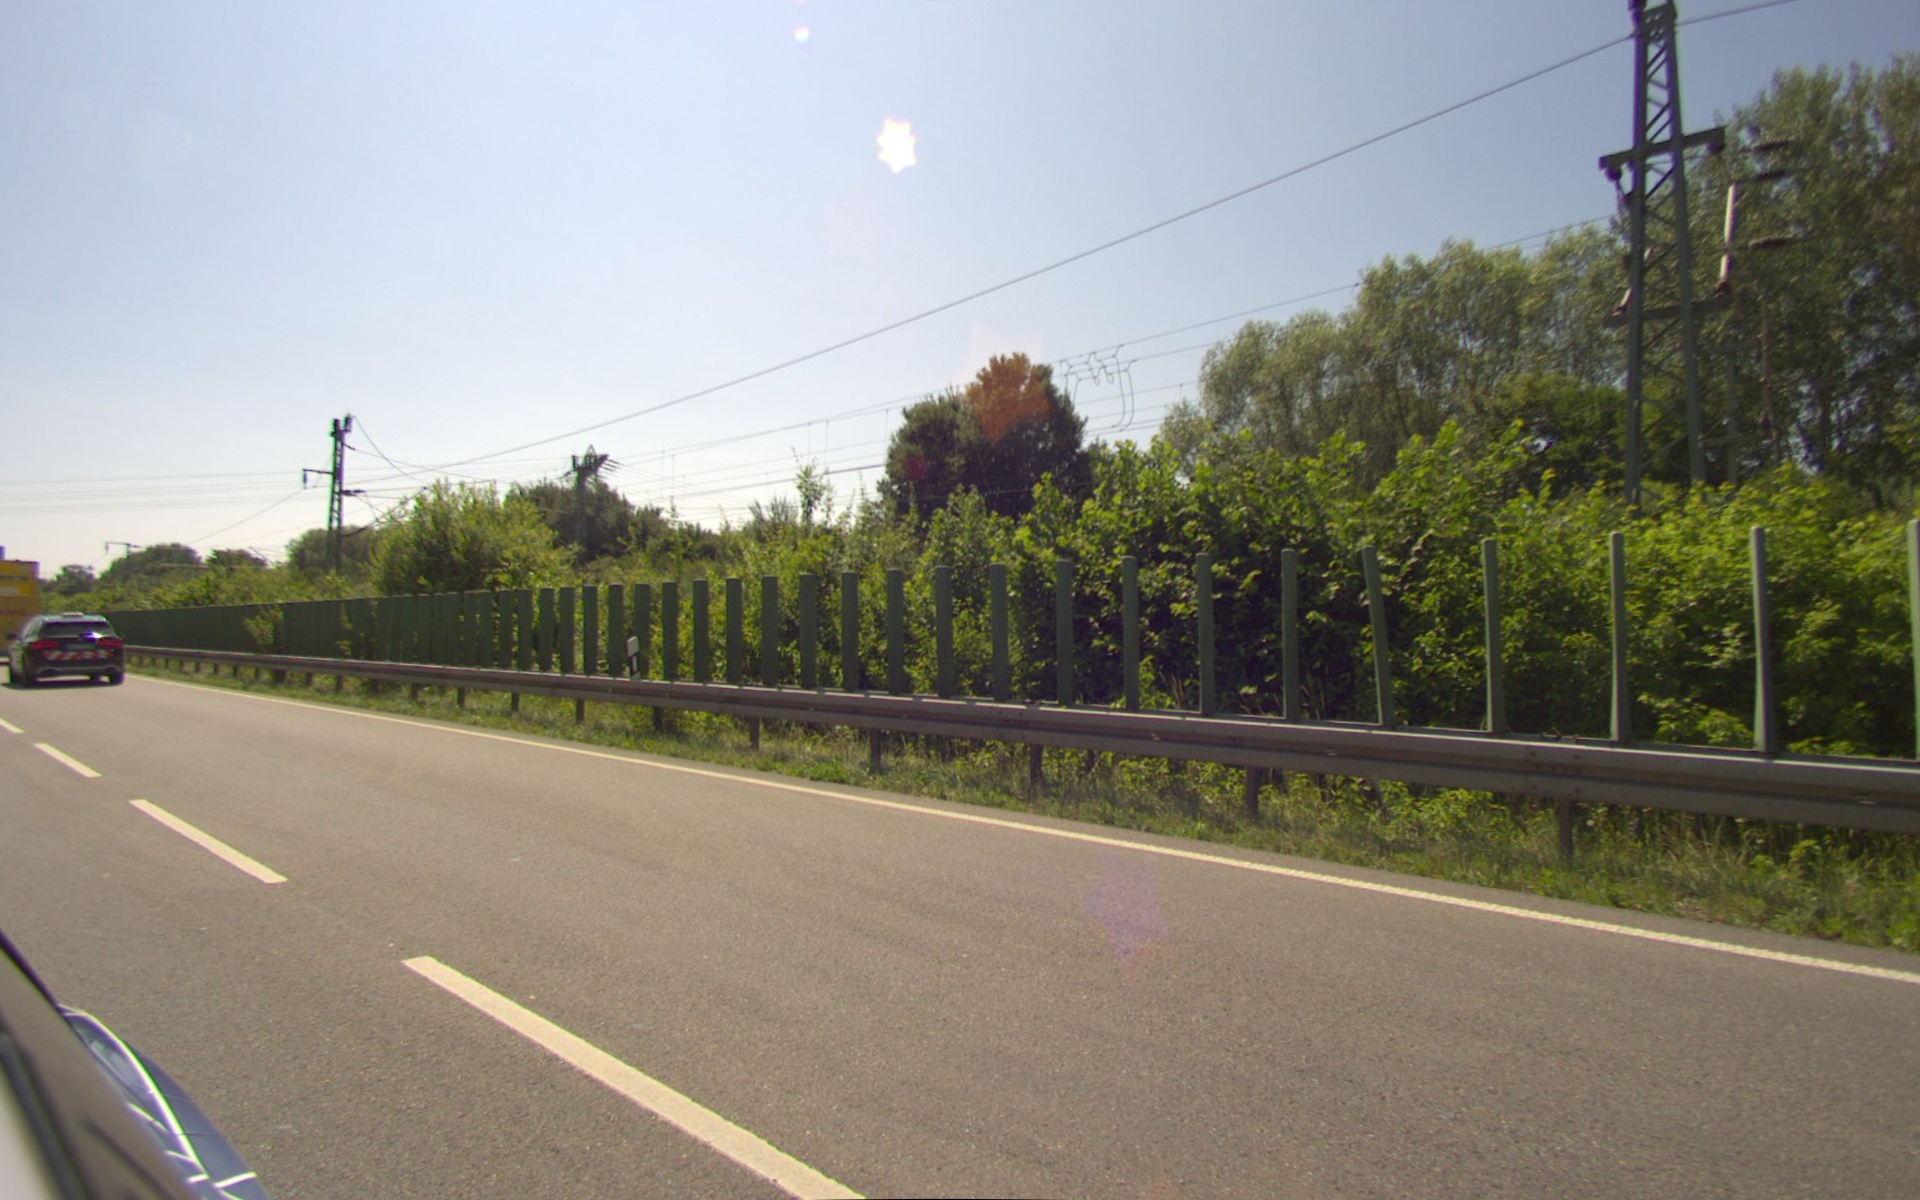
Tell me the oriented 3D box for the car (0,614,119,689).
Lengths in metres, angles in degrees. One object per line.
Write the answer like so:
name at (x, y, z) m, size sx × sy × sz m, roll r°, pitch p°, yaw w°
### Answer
car at (-22.473, 1.220, 25.170) m, size 4.705 × 1.707 × 1.794 m, roll -2°, pitch -2°, yaw 43°

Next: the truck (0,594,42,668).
truck at (-36.845, 1.182, 38.634) m, size 5.701 × 2.667 × 2.058 m, roll -2°, pitch -1°, yaw 41°
